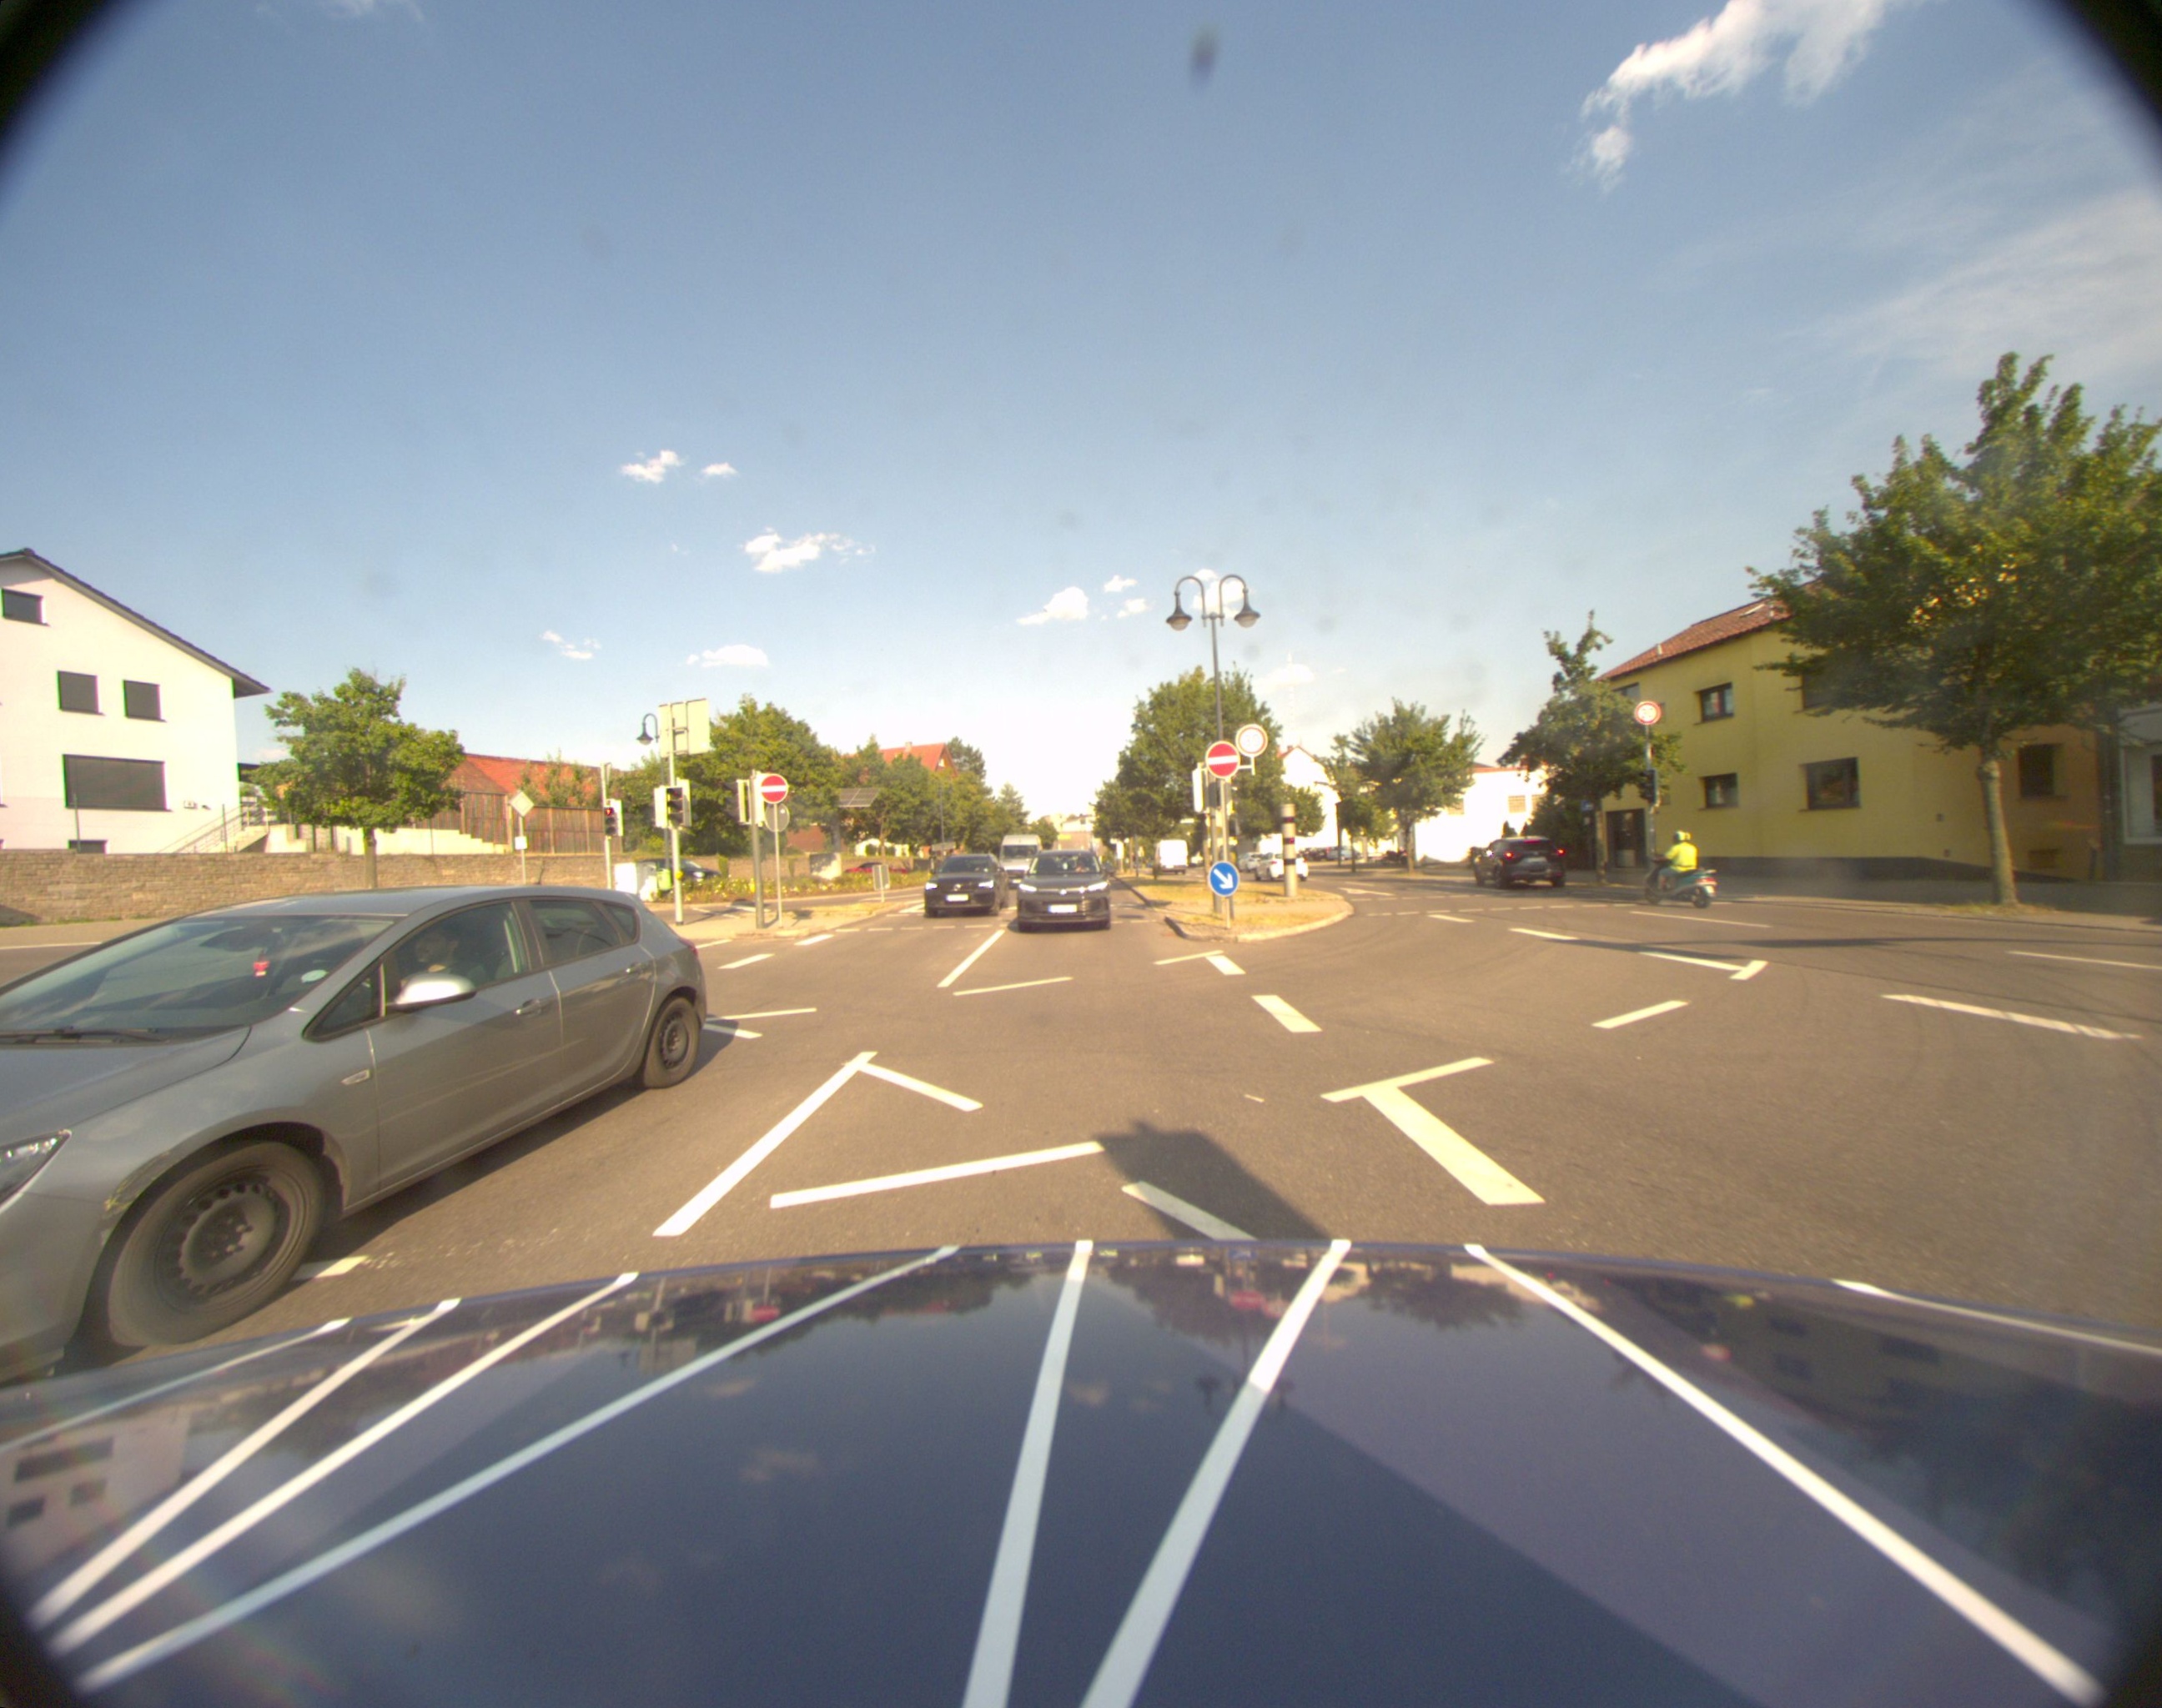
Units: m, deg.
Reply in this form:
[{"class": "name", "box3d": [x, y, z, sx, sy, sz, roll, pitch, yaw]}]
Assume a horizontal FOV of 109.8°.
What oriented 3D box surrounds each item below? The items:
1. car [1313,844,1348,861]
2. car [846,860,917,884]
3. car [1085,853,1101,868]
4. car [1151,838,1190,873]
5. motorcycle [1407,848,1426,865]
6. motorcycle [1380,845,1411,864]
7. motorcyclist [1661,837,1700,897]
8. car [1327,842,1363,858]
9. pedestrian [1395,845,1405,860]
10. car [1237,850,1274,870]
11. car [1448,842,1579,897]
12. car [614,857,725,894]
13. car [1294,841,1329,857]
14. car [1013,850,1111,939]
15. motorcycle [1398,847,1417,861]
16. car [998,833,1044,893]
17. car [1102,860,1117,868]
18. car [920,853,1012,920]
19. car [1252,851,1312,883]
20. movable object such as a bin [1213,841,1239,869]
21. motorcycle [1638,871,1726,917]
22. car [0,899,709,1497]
[{"class": "car", "box3d": [24.809, -0.135, 75.579, 3.438, 1.555, 1.583, -2, 0, -38]}, {"class": "car", "box3d": [-12.837, 1.152, 49.058, 3.994, 1.422, 1.749, -2, 0, 9]}, {"class": "car", "box3d": [1.613, 0.843, 100.595, 1.816, 1.861, 4.001, -2, 0, 3]}, {"class": "car", "box3d": [6.723, 0.106, 57.633, 2.090, 2.461, 5.478, -2, 0, -2]}, {"class": "motorcycle", "box3d": [22.004, 0.176, 49.812, 0.549, 1.092, 2.052, -2, -1, 40]}, {"class": "motorcycle", "box3d": [22.359, 0.033, 54.105, 0.489, 1.314, 2.114, -2, -1, -30]}, {"class": "motorcyclist", "box3d": [12.490, 0.277, 15.837, 0.404, 1.221, 0.461, -2, 0, -1]}, {"class": "car", "box3d": [25.256, -0.381, 72.592, 3.438, 1.534, 1.617, -1, 0, -38]}, {"class": "pedestrian", "box3d": [27.592, -0.141, 65.690, 0.596, 1.332, 0.584, -2, 0, -7]}, {"class": "car", "box3d": [12.739, 0.436, 55.758, 1.695, 1.405, 4.214, -2, 0, 0]}, {"class": "car", "box3d": [13.837, 0.455, 24.668, 1.859, 1.586, 4.461, -2, 0, 3]}, {"class": "car", "box3d": [-17.730, 0.931, 32.808, 4.072, 1.448, 1.680, -2, 0, 13]}, {"class": "car", "box3d": [23.512, -0.489, 77.581, 3.417, 1.616, 1.857, -1, 0, -41]}, {"class": "car", "box3d": [-0.324, 0.764, 16.166, 1.768, 1.582, 4.056, -2, 0, 1]}, {"class": "motorcycle", "box3d": [28.160, -0.010, 65.543, 0.488, 1.139, 2.118, -2, -1, -6]}, {"class": "car", "box3d": [-2.876, 0.380, 37.468, 2.040, 2.642, 6.647, -1, 0, -3]}, {"class": "car", "box3d": [5.326, 1.851, 143.035, 1.780, 1.516, 3.844, -2, 0, 18]}, {"class": "car", "box3d": [-2.991, 0.798, 20.641, 1.792, 1.596, 4.056, -1, 0, 1]}, {"class": "car", "box3d": [9.372, 0.581, 35.752, 1.761, 1.403, 4.000, -2, 0, 0]}, {"class": "movable object such as a bin", "box3d": [12.827, 0.079, 67.353, 1.556, 2.447, 4.978, -1, 0, 2]}, {"class": "motorcycle", "box3d": [12.505, 0.812, 15.871, 0.413, 0.855, 1.763, -2, 0, -1]}, {"class": "car", "box3d": [-3.690, 1.053, 3.598, 1.651, 1.414, 4.144, -2, 0, 2]}]
